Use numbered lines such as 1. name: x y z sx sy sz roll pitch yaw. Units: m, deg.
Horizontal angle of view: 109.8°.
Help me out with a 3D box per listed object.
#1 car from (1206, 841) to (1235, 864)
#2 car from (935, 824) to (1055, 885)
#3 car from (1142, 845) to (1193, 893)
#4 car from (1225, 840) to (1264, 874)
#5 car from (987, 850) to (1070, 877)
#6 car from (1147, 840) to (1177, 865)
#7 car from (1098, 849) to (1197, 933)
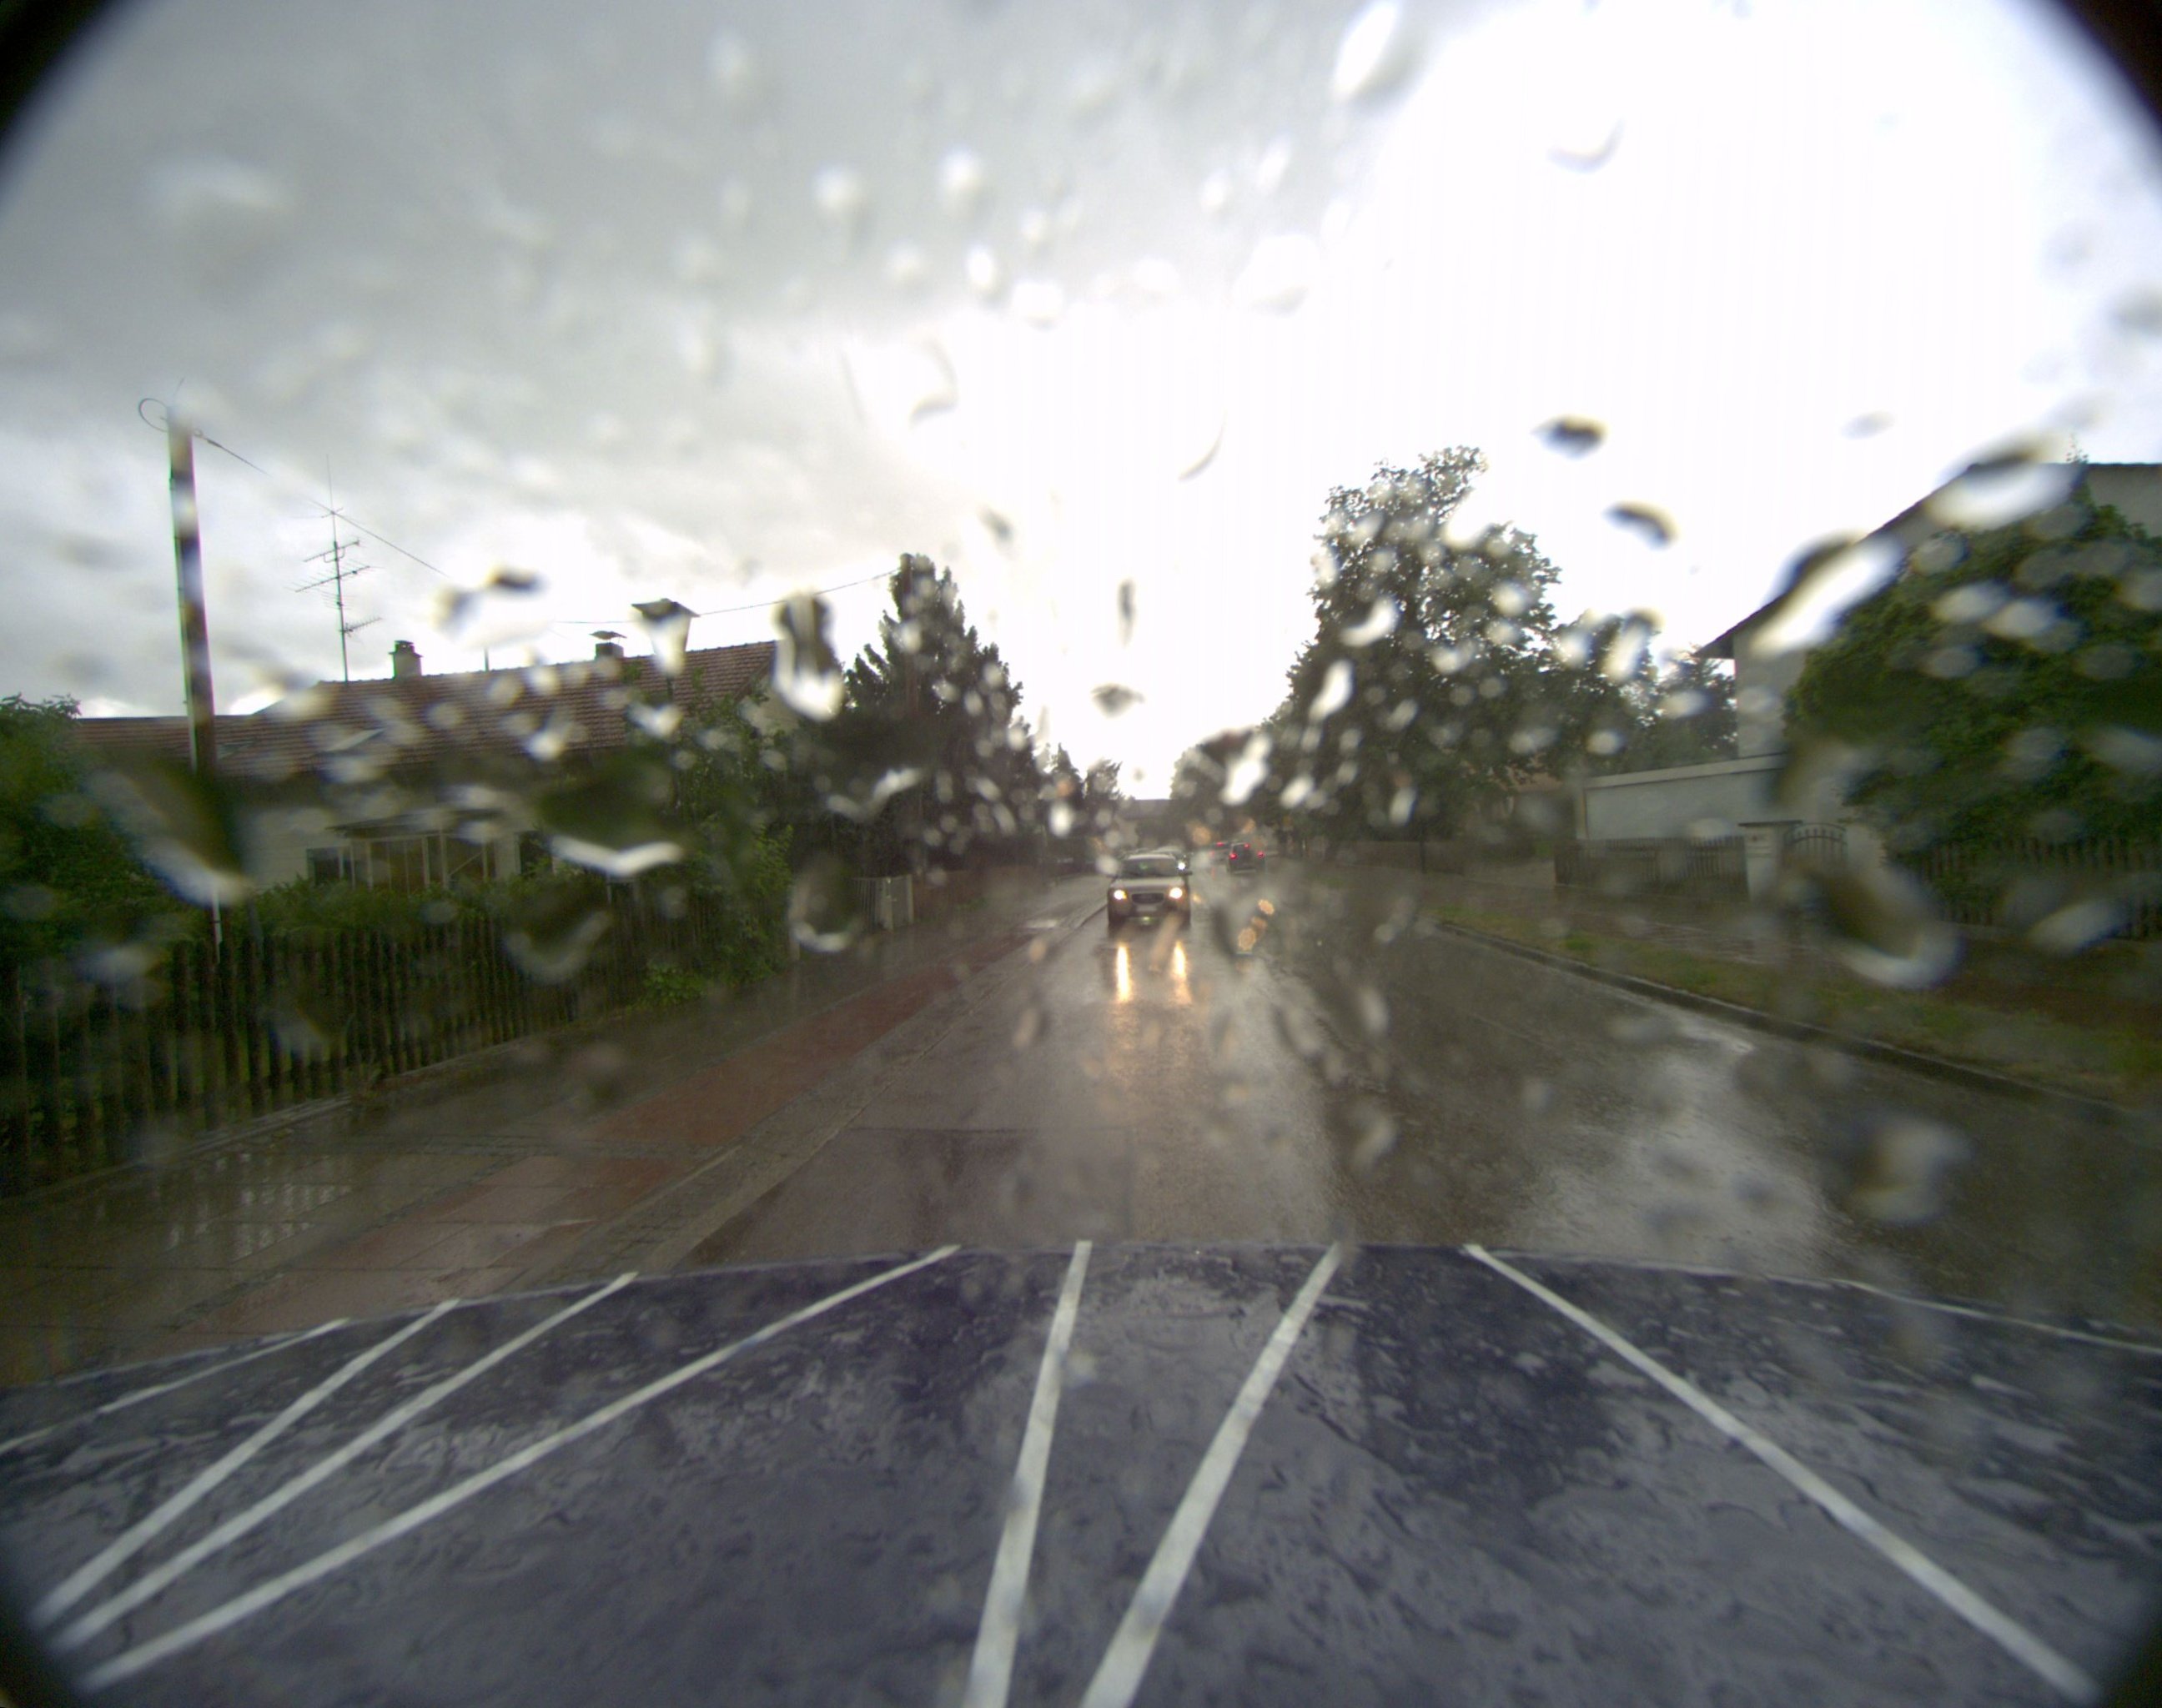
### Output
1. car: 10.832 -0.162 59.201 1.757 1.668 4.001 -1 1 5
2. car: -3.883 -0.010 35.162 5.317 2.712 1.999 0 1 -2
3. car: 3.681 0.570 31.924 1.871 1.603 4.962 -5 1 8
4. car: 8.182 0.105 38.227 1.590 1.601 3.540 -2 1 7
5. car: -2.826 0.514 41.782 4.440 1.413 1.830 0 1 0
6. car: 5.702 -0.138 53.024 1.871 1.512 4.963 -5 1 8
7. car: 1.573 0.726 17.028 1.871 1.512 4.190 -3 1 8
